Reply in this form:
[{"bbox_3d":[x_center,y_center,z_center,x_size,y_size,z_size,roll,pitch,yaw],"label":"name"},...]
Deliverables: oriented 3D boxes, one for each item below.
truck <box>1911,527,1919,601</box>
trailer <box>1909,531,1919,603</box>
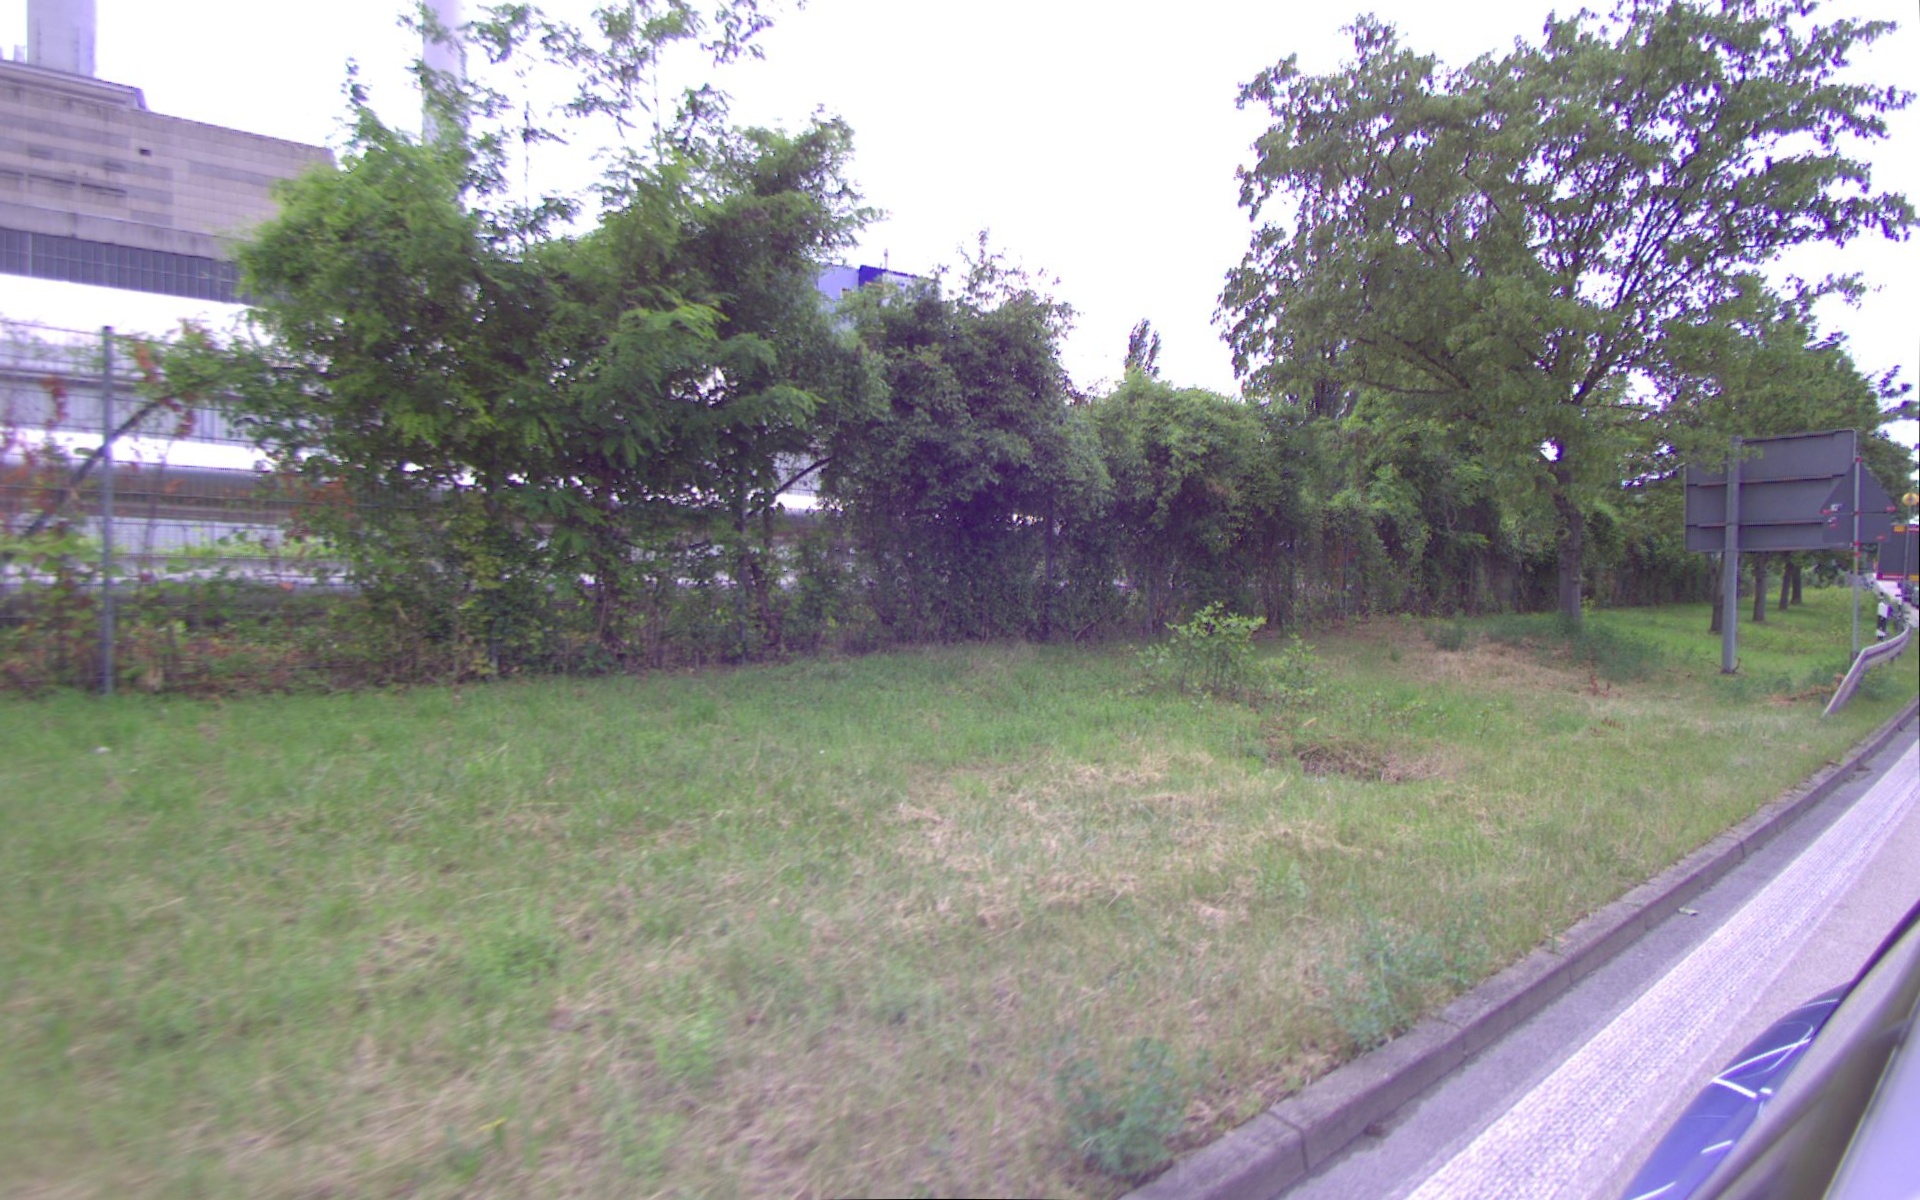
[{"bbox_3d":[58.206,-2.064,59.426,3.152,4.183,8.016,-2,-1,42],"label":"truck"},{"bbox_3d":[63.704,-2.024,65.475,3.154,4.379,13.060,-1,0,42],"label":"trailer"}]
